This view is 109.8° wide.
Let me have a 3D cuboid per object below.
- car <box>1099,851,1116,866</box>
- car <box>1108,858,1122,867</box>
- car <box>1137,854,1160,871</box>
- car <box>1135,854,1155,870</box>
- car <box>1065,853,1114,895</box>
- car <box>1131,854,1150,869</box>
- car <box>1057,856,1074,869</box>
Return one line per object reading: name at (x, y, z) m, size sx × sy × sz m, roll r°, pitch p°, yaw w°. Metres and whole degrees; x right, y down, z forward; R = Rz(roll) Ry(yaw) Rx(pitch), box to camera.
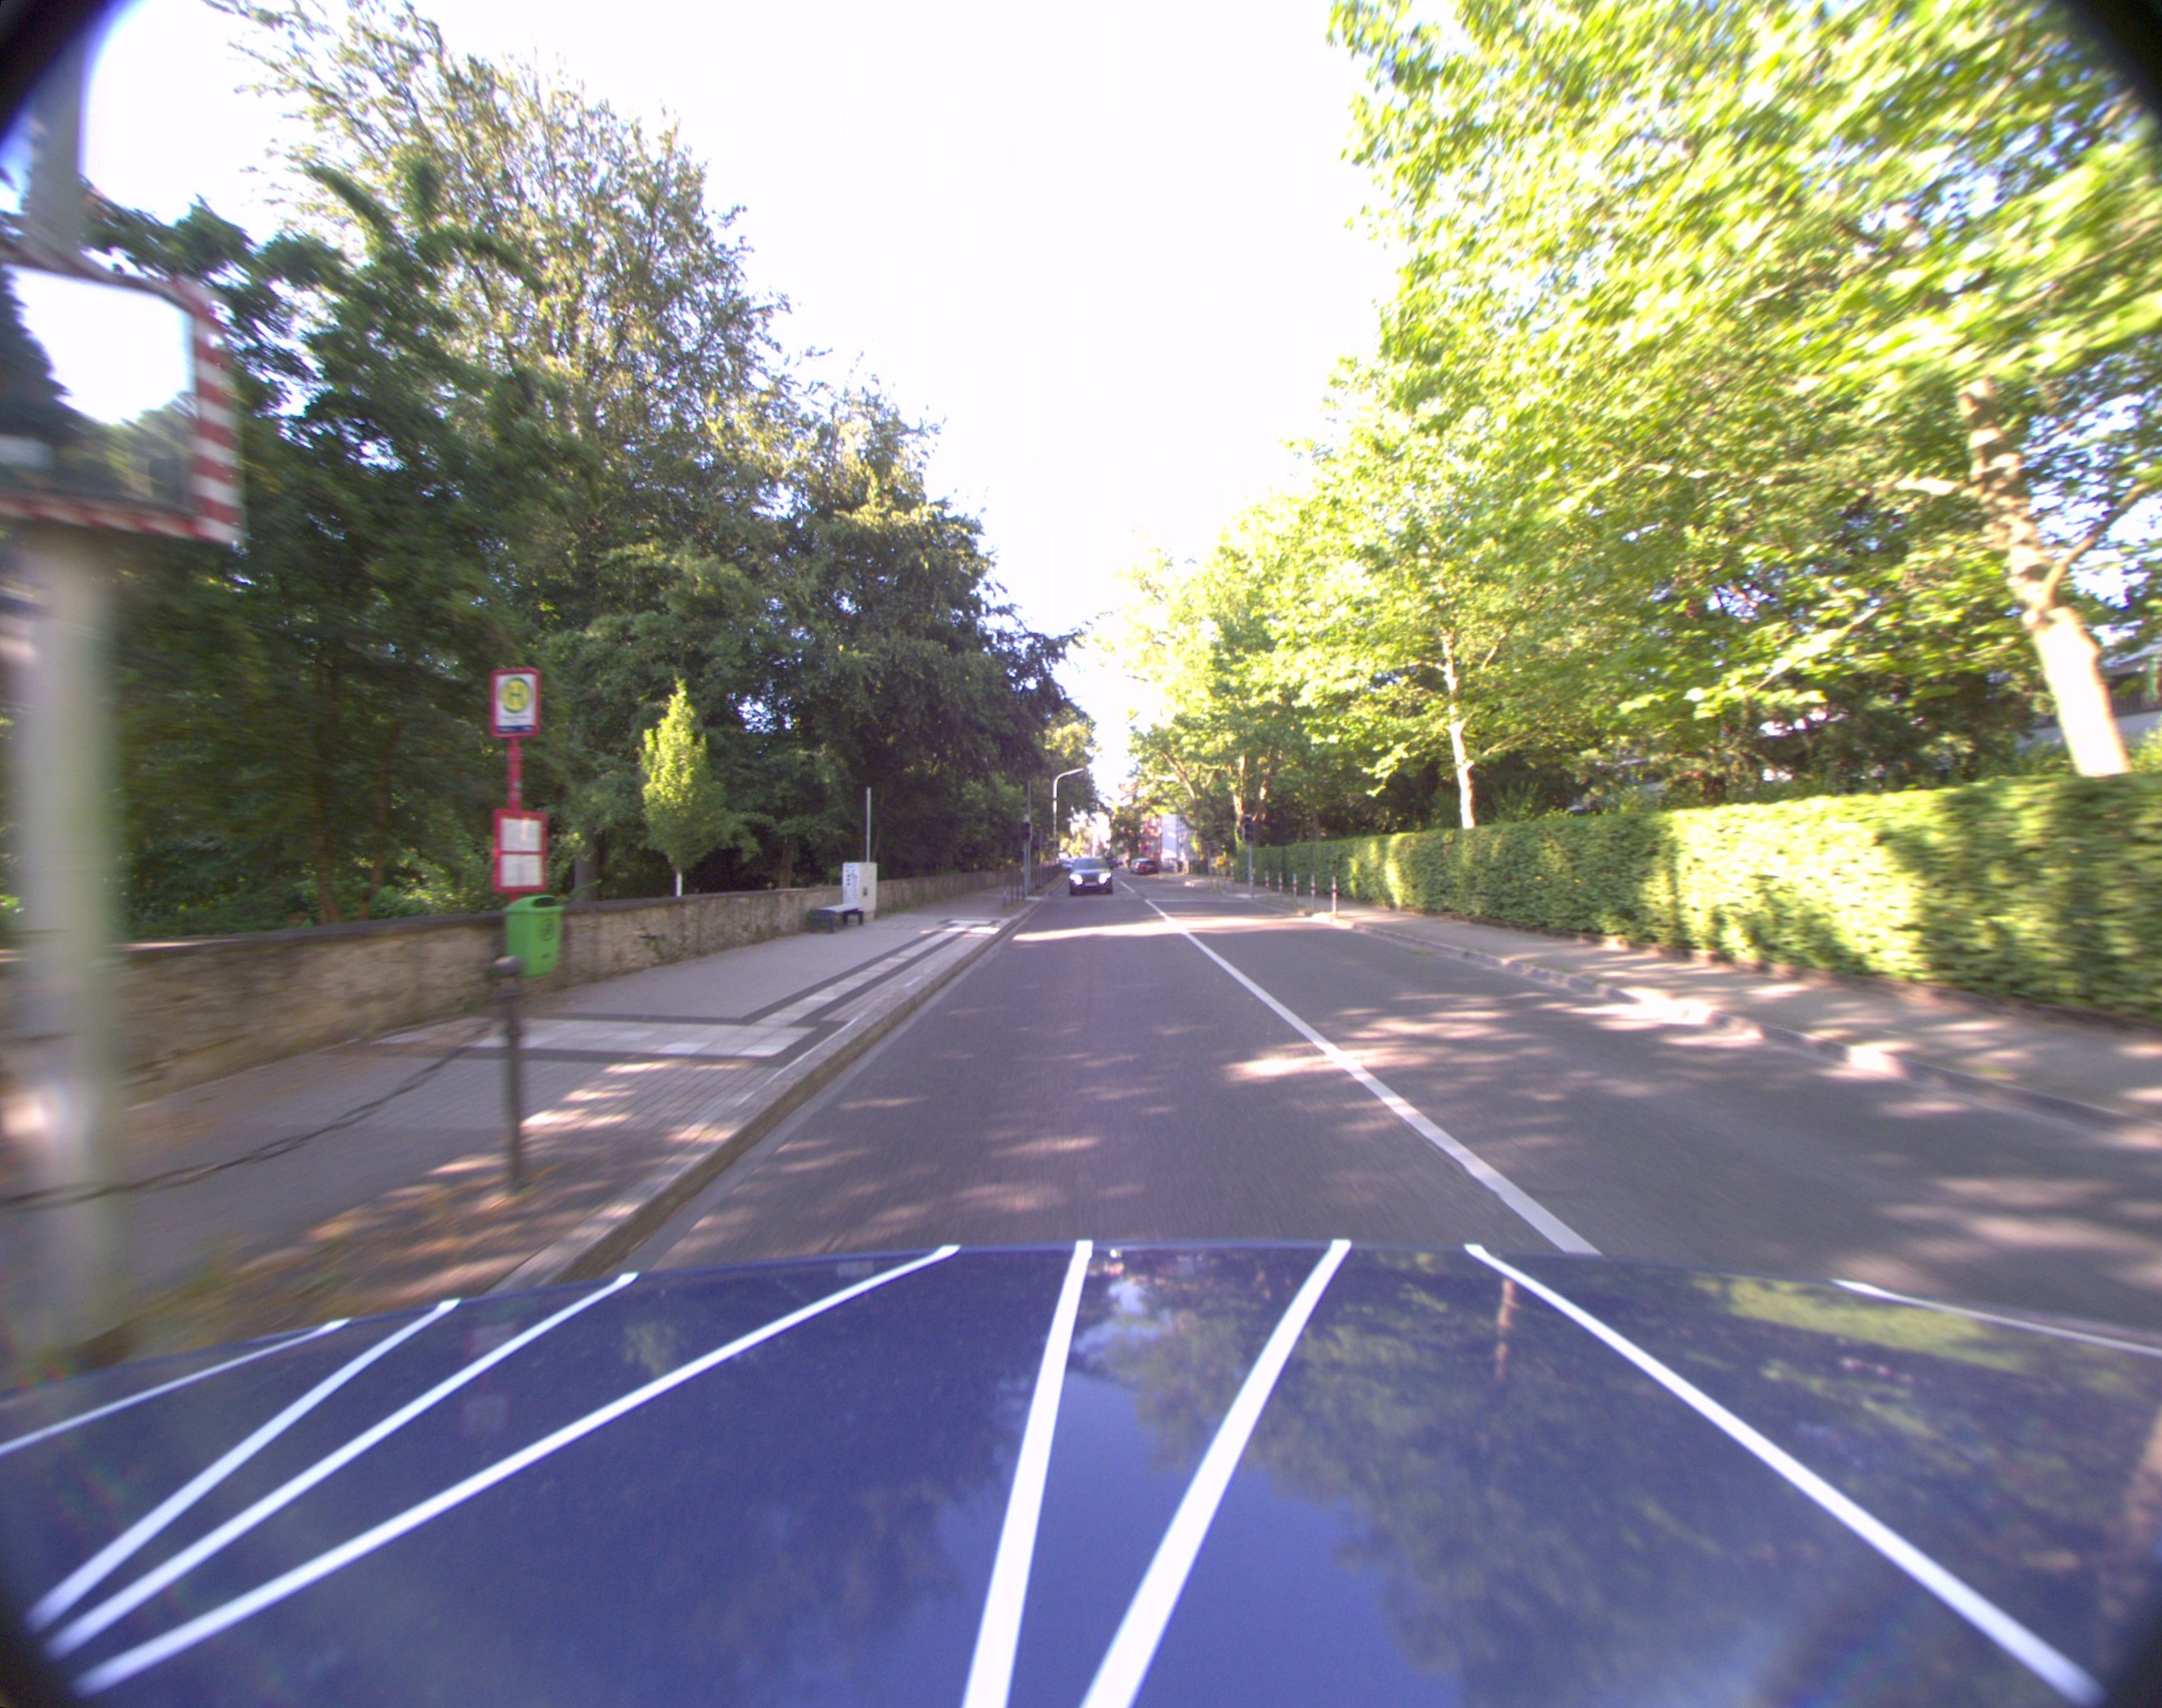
car at (3.584, 0.578, 103.777) m, size 1.999 × 1.957 × 4.776 m, roll 0°, pitch 0°, yaw -2°
car at (5.712, 1.435, 126.763) m, size 1.824 × 1.375 × 3.933 m, roll 2°, pitch 0°, yaw -4°
car at (6.213, 0.806, 70.207) m, size 1.689 × 1.425 × 3.616 m, roll -4°, pitch 0°, yaw -1°
car at (6.335, 0.814, 75.450) m, size 1.628 × 1.537 × 3.322 m, roll -1°, pitch 0°, yaw -1°
car at (0.441, 0.844, 33.273) m, size 1.936 × 1.676 × 4.433 m, roll -1°, pitch 0°, yaw 2°
car at (6.252, 0.755, 80.371) m, size 1.628 × 1.425 × 3.559 m, roll -3°, pitch 0°, yaw -1°
car at (-1.815, 1.031, 88.498) m, size 1.824 × 1.375 × 3.933 m, roll 2°, pitch 0°, yaw -4°
